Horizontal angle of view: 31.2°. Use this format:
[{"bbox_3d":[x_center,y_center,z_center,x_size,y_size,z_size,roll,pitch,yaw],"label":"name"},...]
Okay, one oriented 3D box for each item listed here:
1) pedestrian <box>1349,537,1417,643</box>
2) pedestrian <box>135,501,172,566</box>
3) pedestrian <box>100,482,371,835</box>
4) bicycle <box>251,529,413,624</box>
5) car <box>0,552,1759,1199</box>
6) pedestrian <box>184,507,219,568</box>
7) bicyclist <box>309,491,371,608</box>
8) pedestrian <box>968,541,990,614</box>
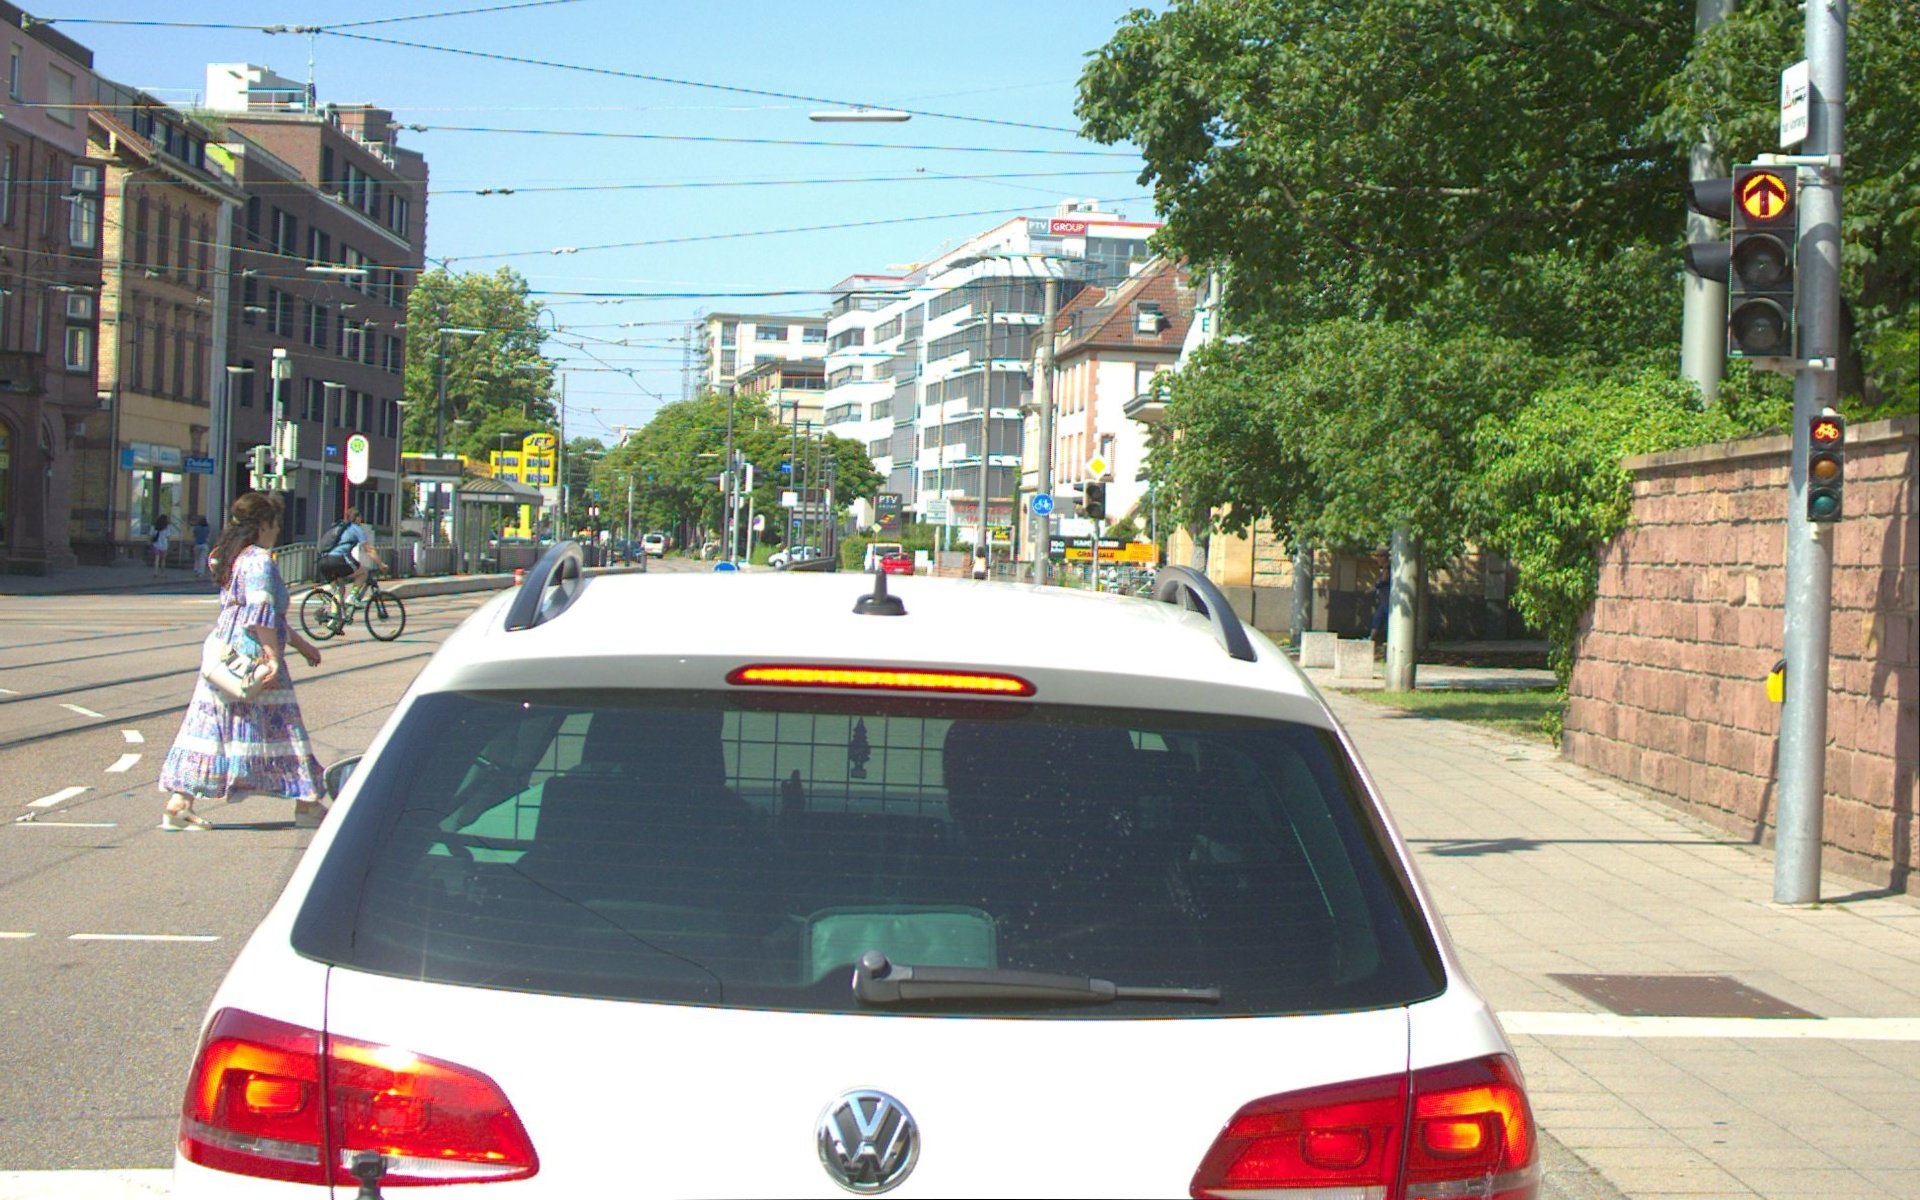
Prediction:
[{"bbox_3d":[7.014,-0.159,56.978,0.972,1.737,0.863,0,0,18],"label":"pedestrian"},{"bbox_3d":[-21.973,-1.804,93.653,0.861,1.737,0.975,0,0,-6],"label":"pedestrian"},{"bbox_3d":[-3.516,0.272,16.667,0.972,1.645,0.956,0,0,-36],"label":"pedestrian"},{"bbox_3d":[-8.680,-0.312,47.561,2.243,1.293,0.559,0,0,-43],"label":"bicycle"},{"bbox_3d":[-0.143,0.679,5.486,1.808,1.443,4.000,2,1,-1],"label":"car"},{"bbox_3d":[-22.038,-1.807,99.911,0.861,1.737,0.975,0,0,-6],"label":"pedestrian"},{"bbox_3d":[-8.589,-0.693,47.636,0.636,1.607,0.562,0,0,-43],"label":"bicyclist"},{"bbox_3d":[0.616,-0.717,109.941,0.690,2.317,1.232,0,0,1],"label":"pedestrian"}]
